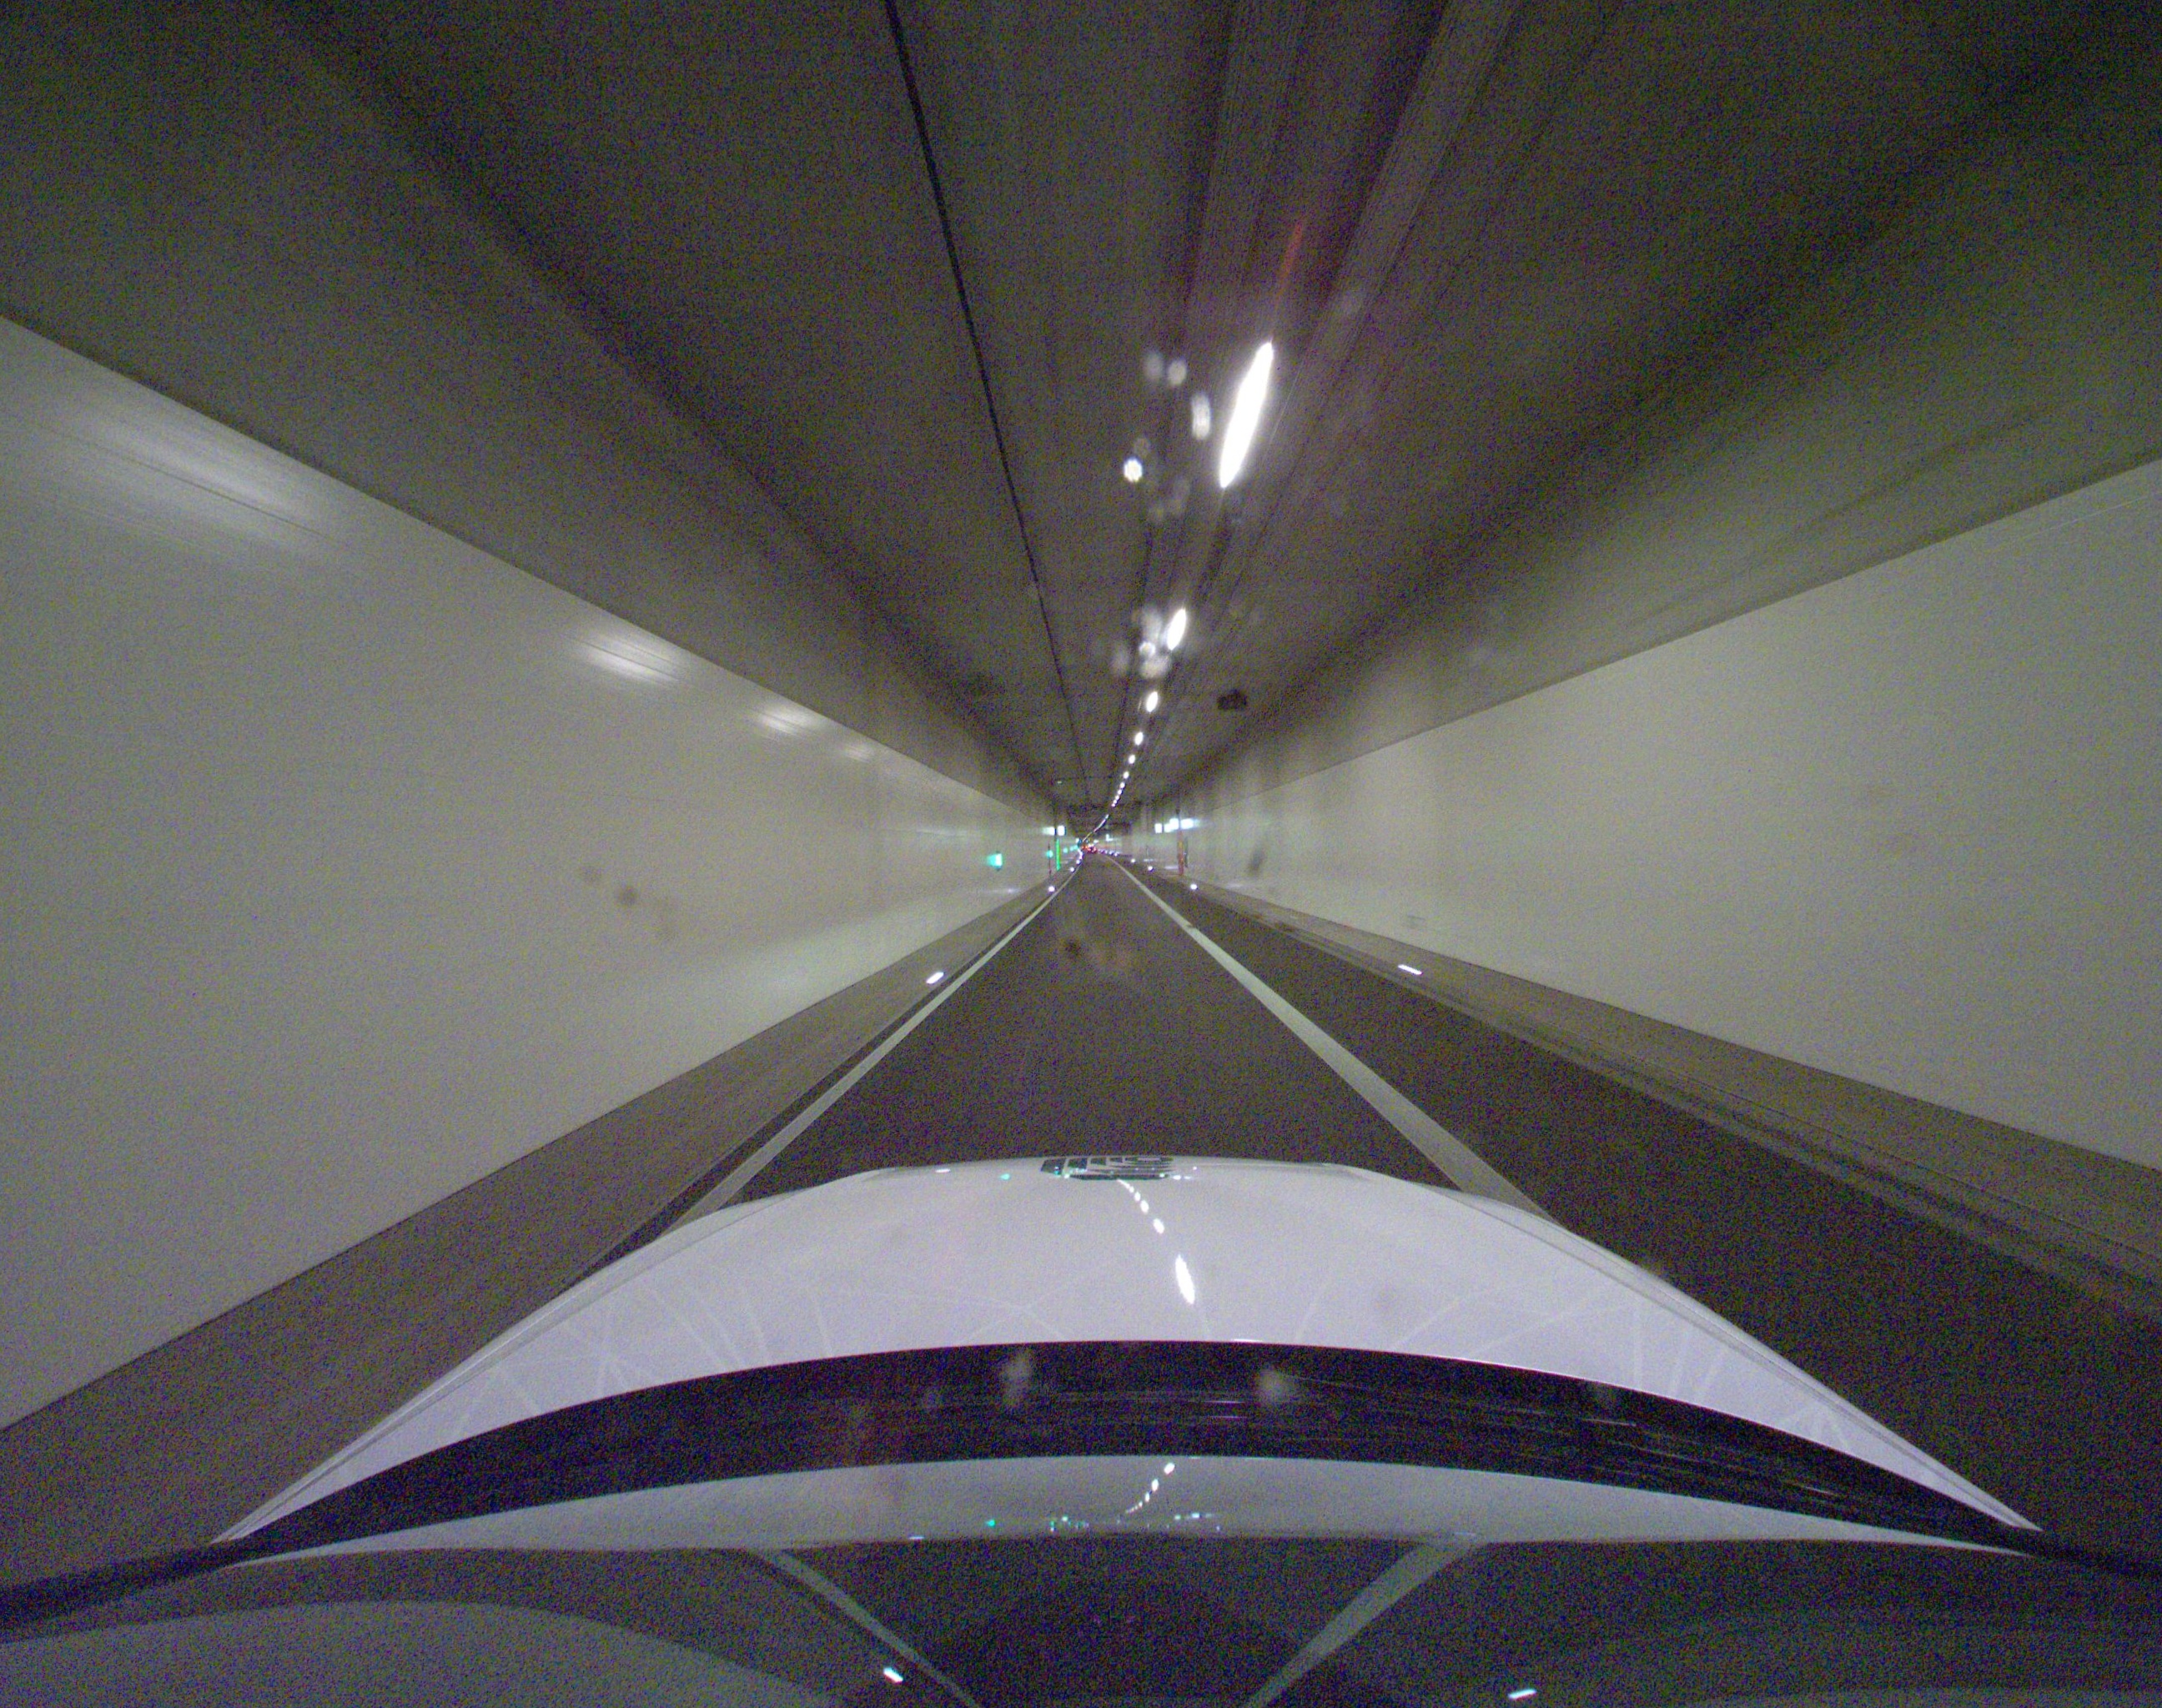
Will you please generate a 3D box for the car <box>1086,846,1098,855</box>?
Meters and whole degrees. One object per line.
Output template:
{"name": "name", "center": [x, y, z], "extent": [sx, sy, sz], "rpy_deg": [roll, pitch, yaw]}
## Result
{"name": "car", "center": [2.083, -0.693, 153.393], "extent": [1.988, 1.420, 3.999], "rpy_deg": [-4, 1, -1]}
